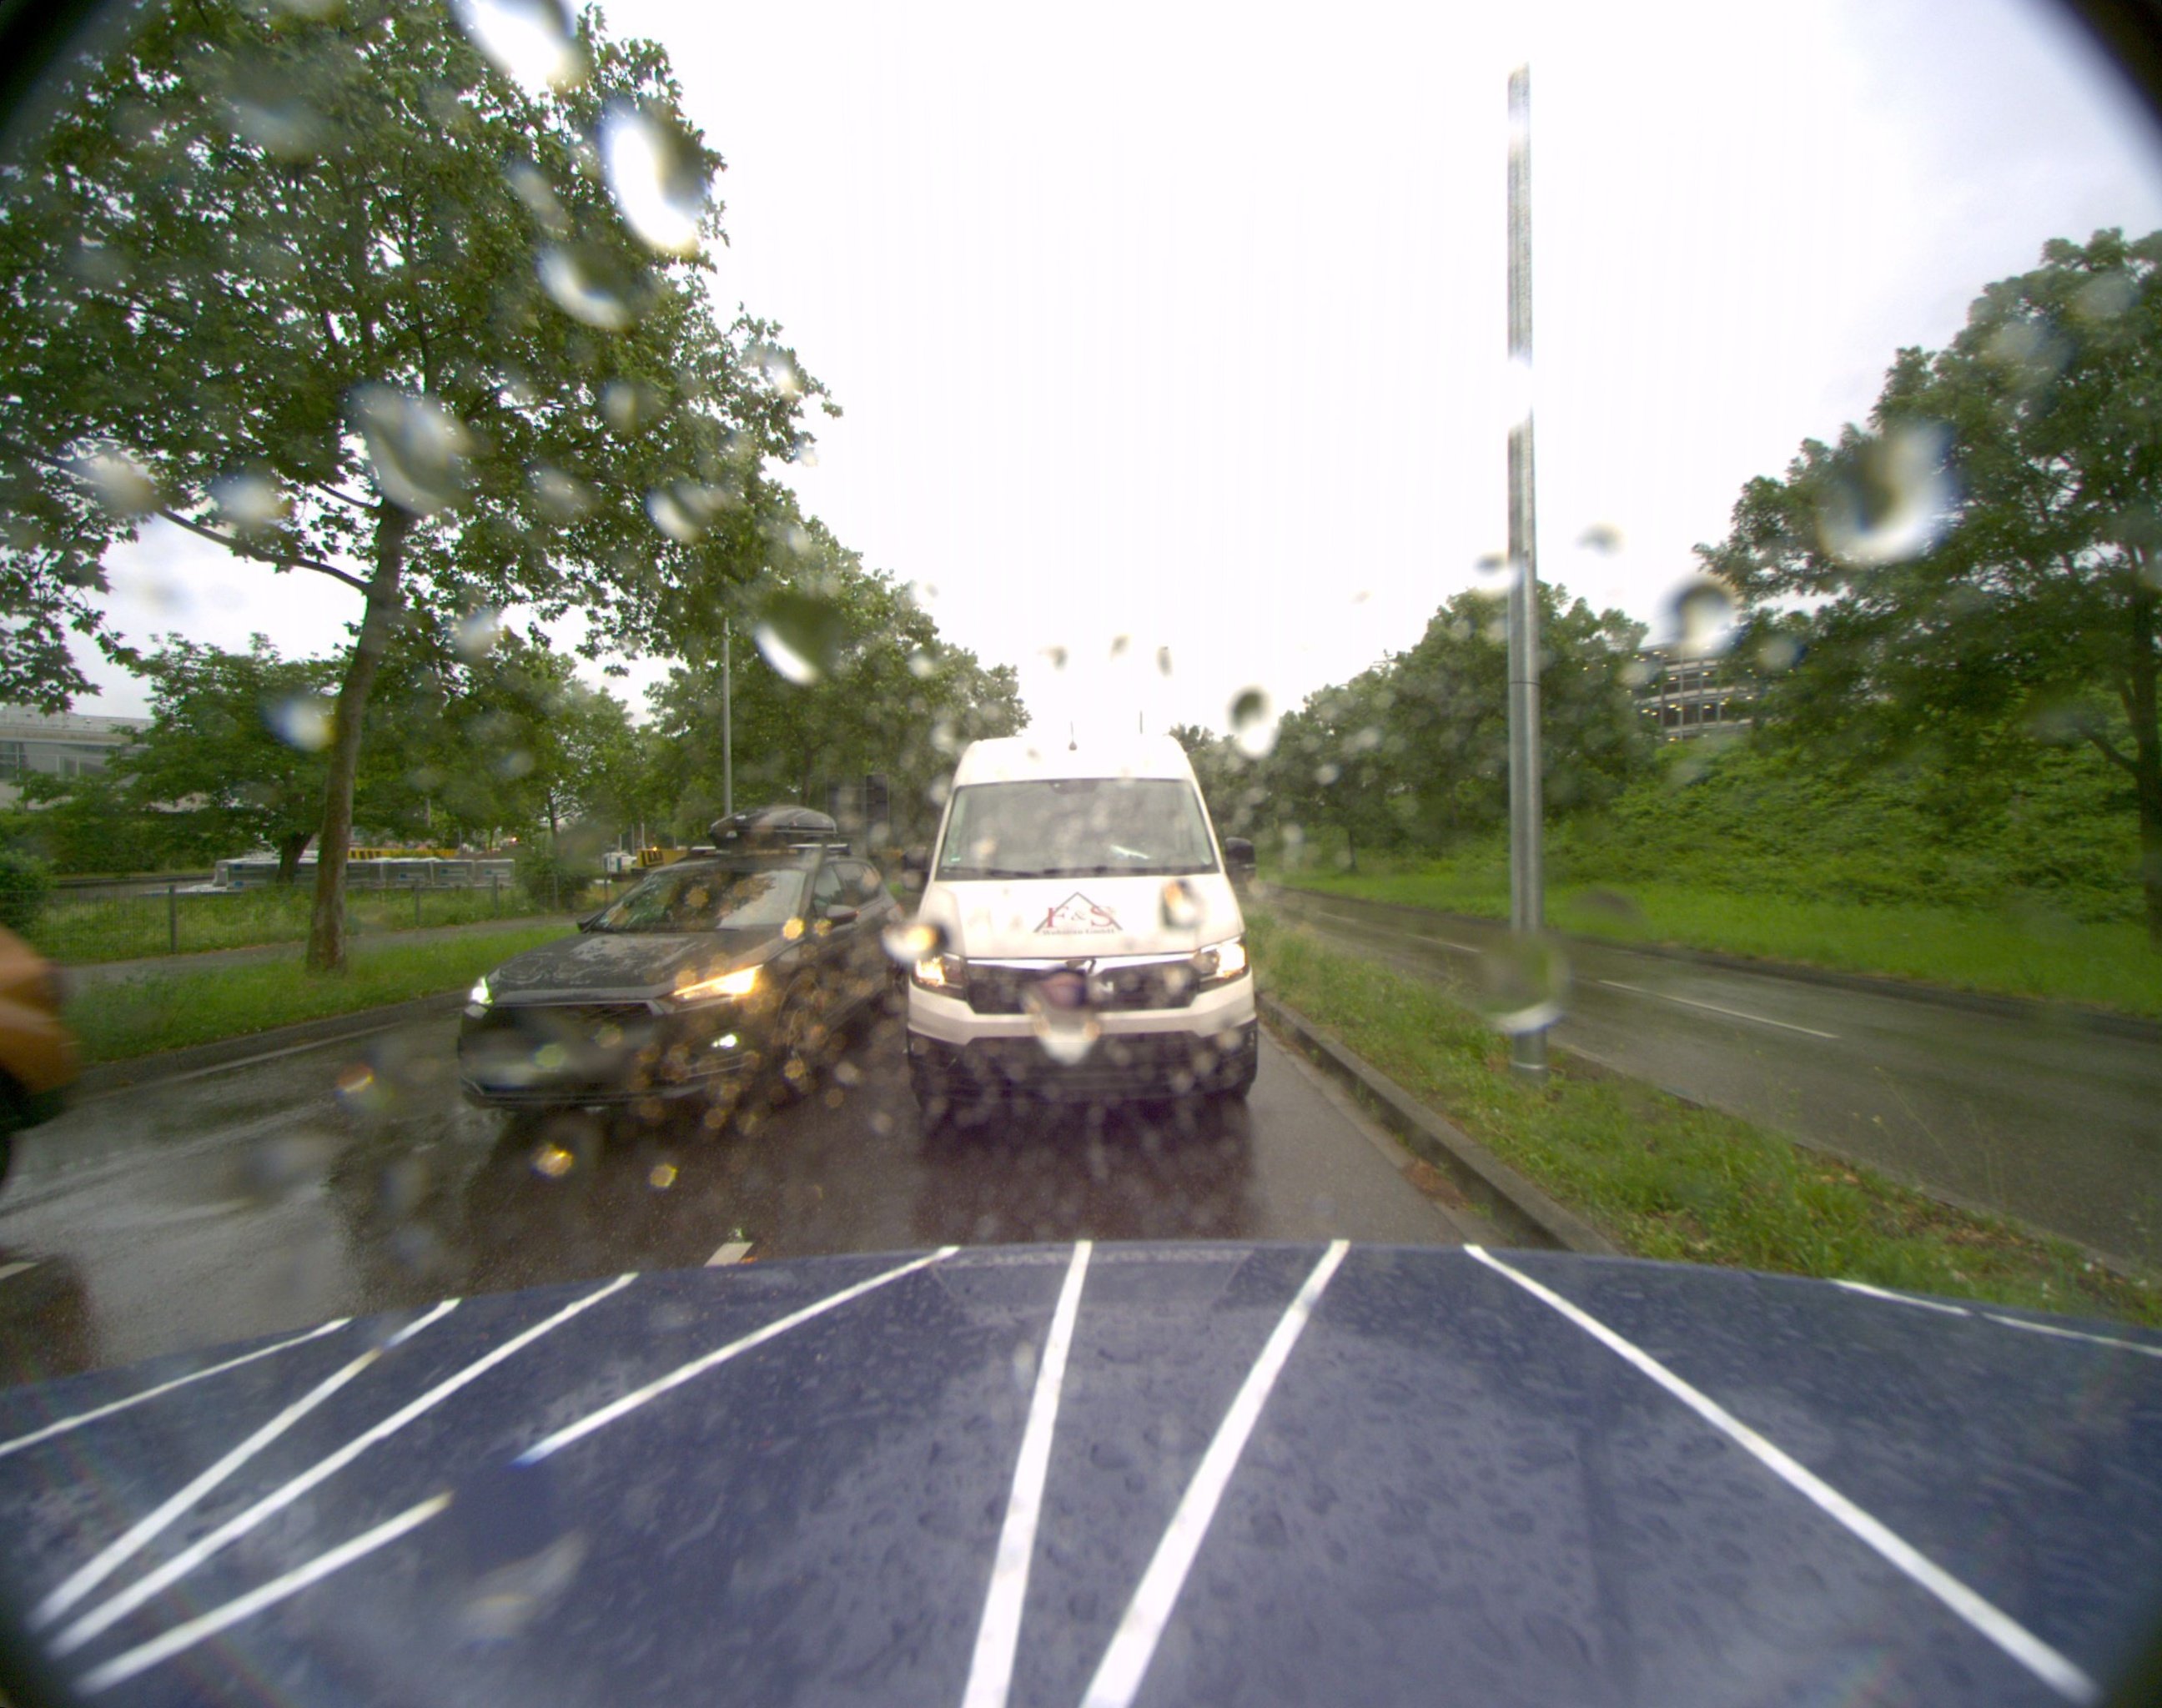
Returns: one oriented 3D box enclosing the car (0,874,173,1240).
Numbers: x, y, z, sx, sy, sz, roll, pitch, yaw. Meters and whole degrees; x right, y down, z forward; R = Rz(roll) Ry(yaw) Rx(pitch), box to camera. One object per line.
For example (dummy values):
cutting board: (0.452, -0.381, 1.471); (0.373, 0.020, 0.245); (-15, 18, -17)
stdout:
car: (-5.872, 0.975, 2.083); (1.679, 1.675, 4.148); (-3, 0, 1)

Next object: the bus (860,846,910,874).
bus: (-19.145, 0.565, 74.378); (4.370, 2.553, 1.711); (-2, 1, 0)

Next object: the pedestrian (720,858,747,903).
pedestrian: (-13.687, 1.031, 29.936); (0.646, 1.707, 0.656); (-2, 1, 1)

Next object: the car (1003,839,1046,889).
car: (-2.896, 0.484, 39.950); (1.894, 2.432, 5.317); (-1, 0, -1)

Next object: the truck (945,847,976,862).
truck: (-20.992, 0.087, 132.606); (5.061, 2.363, 1.792); (-3, 1, -30)

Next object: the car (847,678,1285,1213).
car: (-0.115, 0.424, 6.445); (2.027, 2.498, 5.695); (-1, 0, -1)

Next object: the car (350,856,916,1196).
car: (-2.768, 0.890, 6.104); (1.894, 1.688, 4.423); (-1, 0, 0)

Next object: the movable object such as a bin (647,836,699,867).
movable object such as a bin: (-48.083, -0.348, 89.571); (1.913, 3.415, 4.947); (-1, 1, 36)
